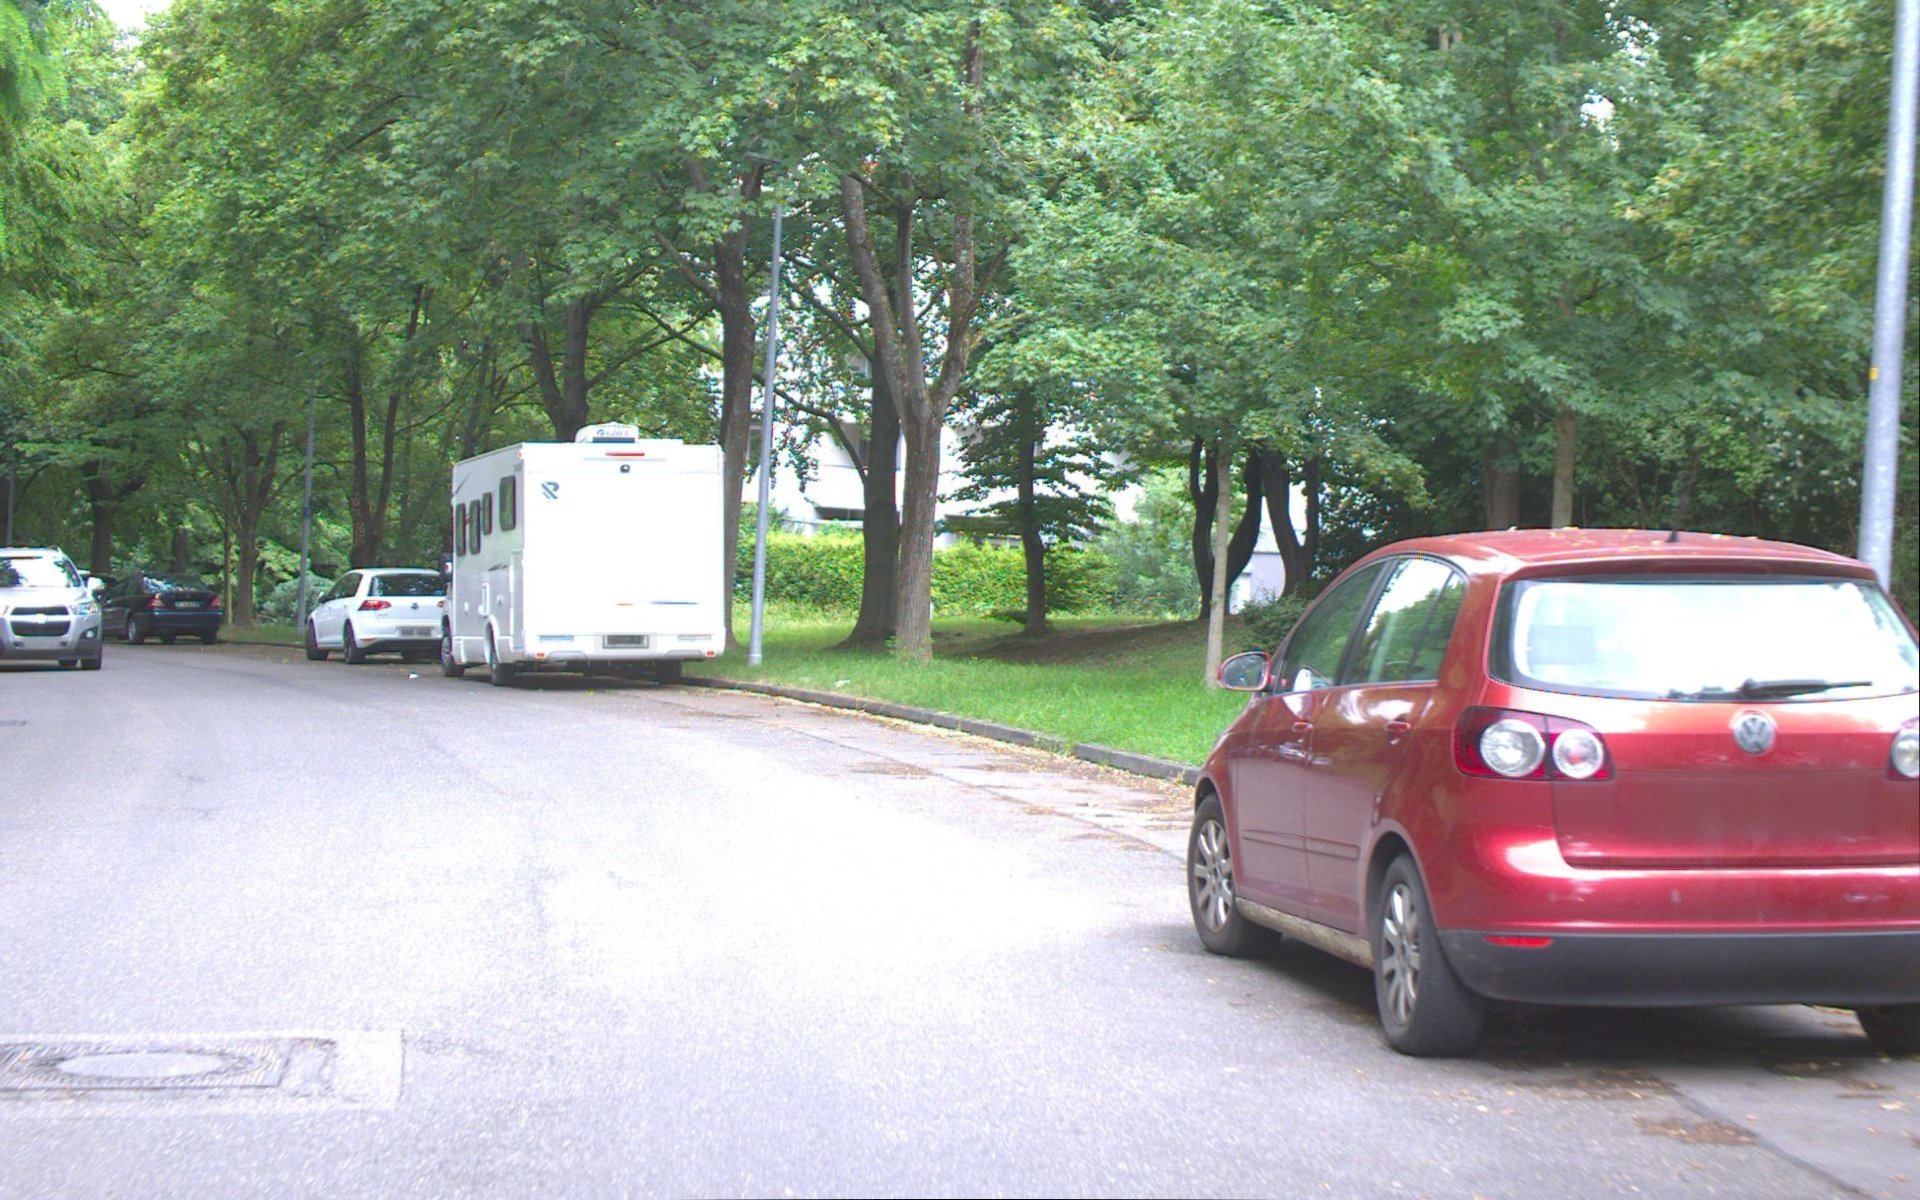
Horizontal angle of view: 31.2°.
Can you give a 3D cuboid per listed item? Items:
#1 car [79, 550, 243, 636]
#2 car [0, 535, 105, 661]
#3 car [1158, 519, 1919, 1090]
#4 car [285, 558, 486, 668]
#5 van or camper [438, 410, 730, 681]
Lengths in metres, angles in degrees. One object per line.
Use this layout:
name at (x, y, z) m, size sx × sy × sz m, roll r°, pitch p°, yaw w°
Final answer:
car at (-15.981, -0.149, 68.643) m, size 1.993 × 1.495 × 4.001 m, roll 3°, pitch 1°, yaw -31°
car at (-13.166, -0.065, 48.485) m, size 1.857 × 1.658 × 4.572 m, roll -1°, pitch 2°, yaw -17°
car at (1.917, 0.547, 11.470) m, size 1.738 × 1.557 × 4.001 m, roll 1°, pitch 1°, yaw -8°
car at (-8.964, 0.183, 53.426) m, size 1.993 × 1.468 × 4.001 m, roll 3°, pitch 1°, yaw -25°
van or camper at (-4.565, -0.672, 40.890) m, size 2.428 × 2.997 × 5.211 m, roll 0°, pitch 2°, yaw -18°
